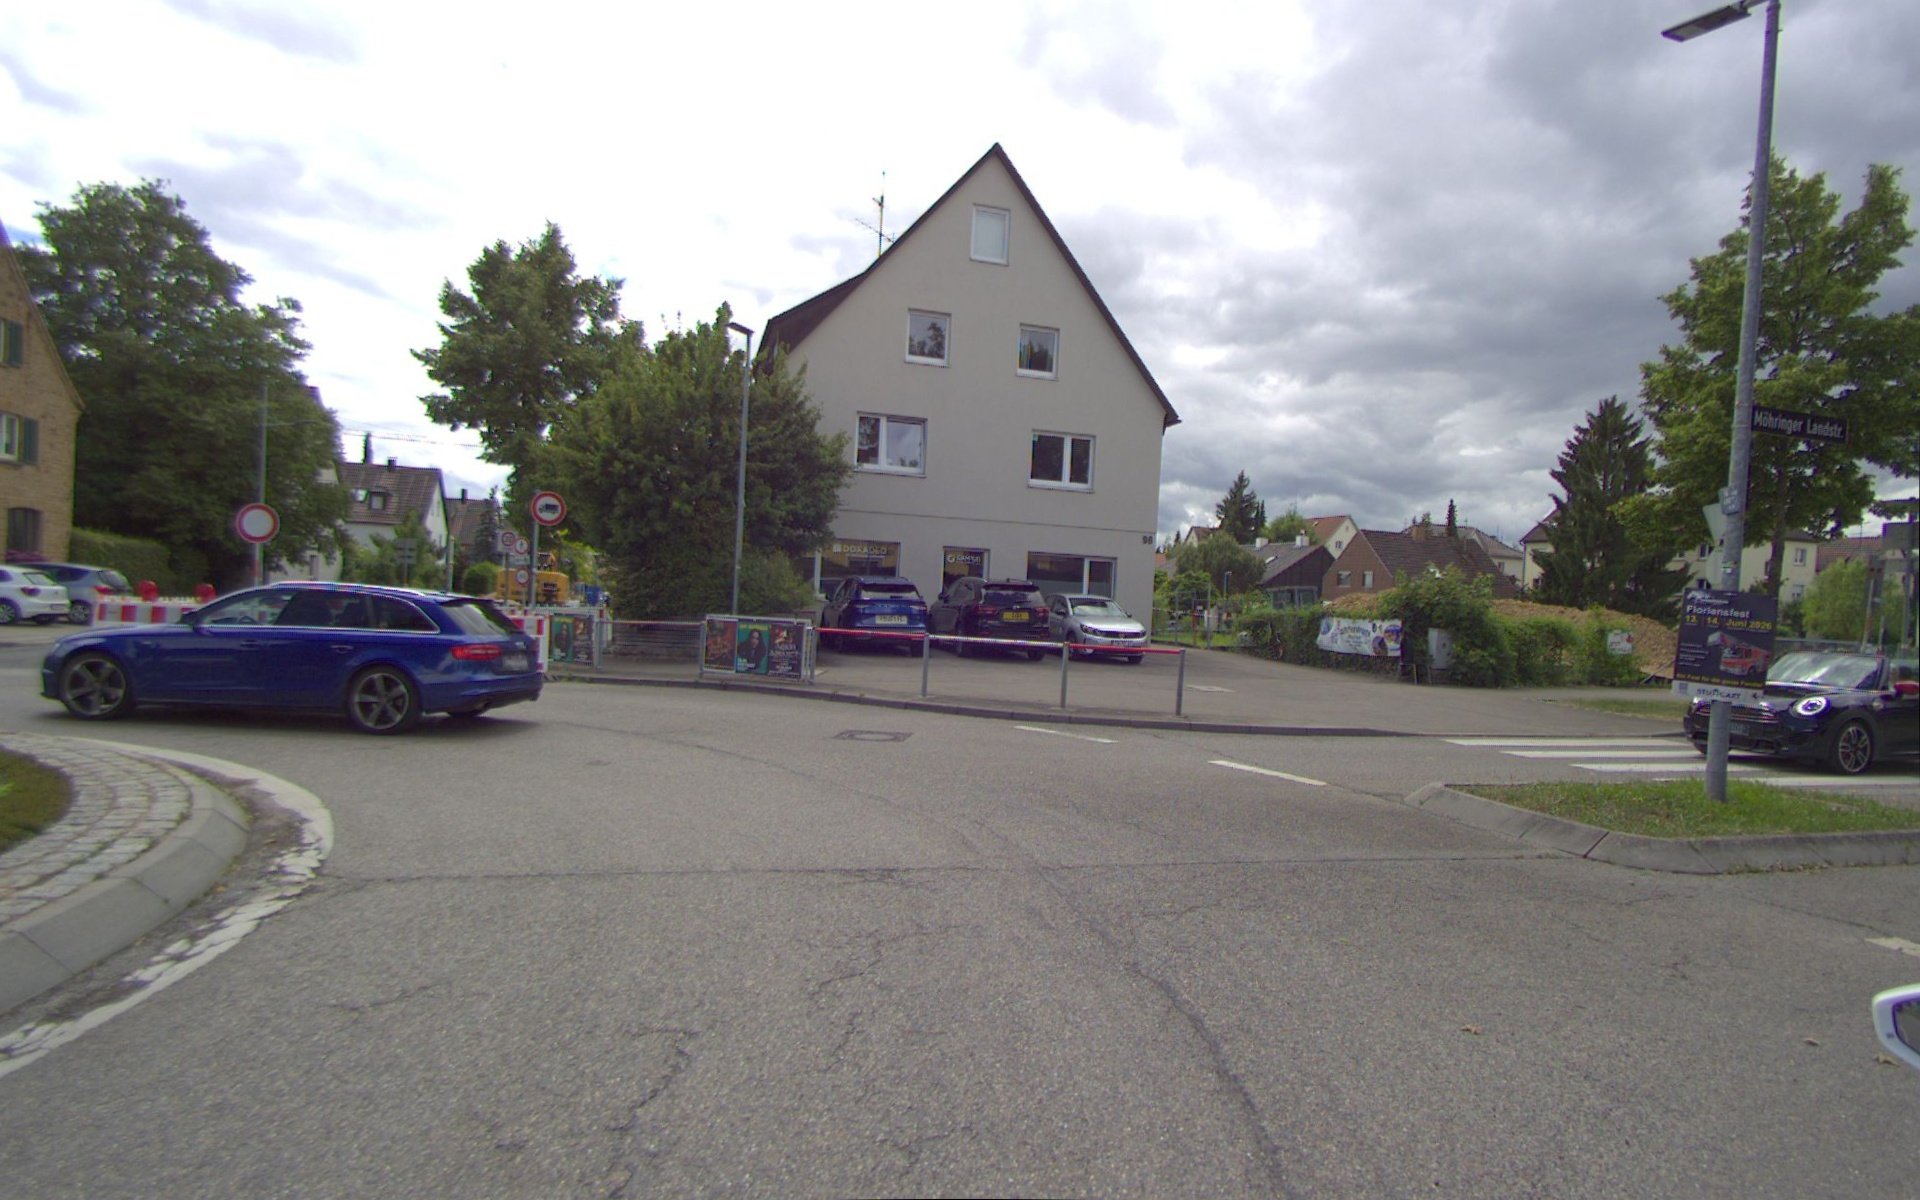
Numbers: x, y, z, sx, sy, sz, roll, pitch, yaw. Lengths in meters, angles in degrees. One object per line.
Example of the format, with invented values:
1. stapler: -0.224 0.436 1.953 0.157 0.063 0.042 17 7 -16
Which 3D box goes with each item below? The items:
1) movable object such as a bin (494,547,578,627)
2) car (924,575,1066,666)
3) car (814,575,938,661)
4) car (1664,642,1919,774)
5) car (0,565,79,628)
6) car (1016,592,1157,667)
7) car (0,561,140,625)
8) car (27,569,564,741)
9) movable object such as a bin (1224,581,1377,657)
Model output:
1. movable object such as a bin: -17.033 -0.505 40.569 2.637 2.954 3.685 2 0 -18
2. car: 0.654 0.380 22.169 1.826 1.684 3.915 4 1 -18
3. car: -1.919 0.326 21.875 1.791 1.556 3.915 3 1 -18
4. car: 10.860 1.305 12.414 3.683 1.380 1.572 2 0 -17
5. car: -24.648 -0.172 25.081 3.613 1.438 1.464 4 0 -15
6. car: 2.818 0.629 23.318 1.719 1.421 3.915 2 1 -18
7. car: -24.793 -0.198 27.538 3.176 1.520 1.394 4 0 -15
8. car: -6.664 0.537 10.397 4.418 1.390 1.614 3 -1 1
9. movable object such as a bin: 10.797 0.600 31.880 4.297 2.217 1.893 3 0 -21
